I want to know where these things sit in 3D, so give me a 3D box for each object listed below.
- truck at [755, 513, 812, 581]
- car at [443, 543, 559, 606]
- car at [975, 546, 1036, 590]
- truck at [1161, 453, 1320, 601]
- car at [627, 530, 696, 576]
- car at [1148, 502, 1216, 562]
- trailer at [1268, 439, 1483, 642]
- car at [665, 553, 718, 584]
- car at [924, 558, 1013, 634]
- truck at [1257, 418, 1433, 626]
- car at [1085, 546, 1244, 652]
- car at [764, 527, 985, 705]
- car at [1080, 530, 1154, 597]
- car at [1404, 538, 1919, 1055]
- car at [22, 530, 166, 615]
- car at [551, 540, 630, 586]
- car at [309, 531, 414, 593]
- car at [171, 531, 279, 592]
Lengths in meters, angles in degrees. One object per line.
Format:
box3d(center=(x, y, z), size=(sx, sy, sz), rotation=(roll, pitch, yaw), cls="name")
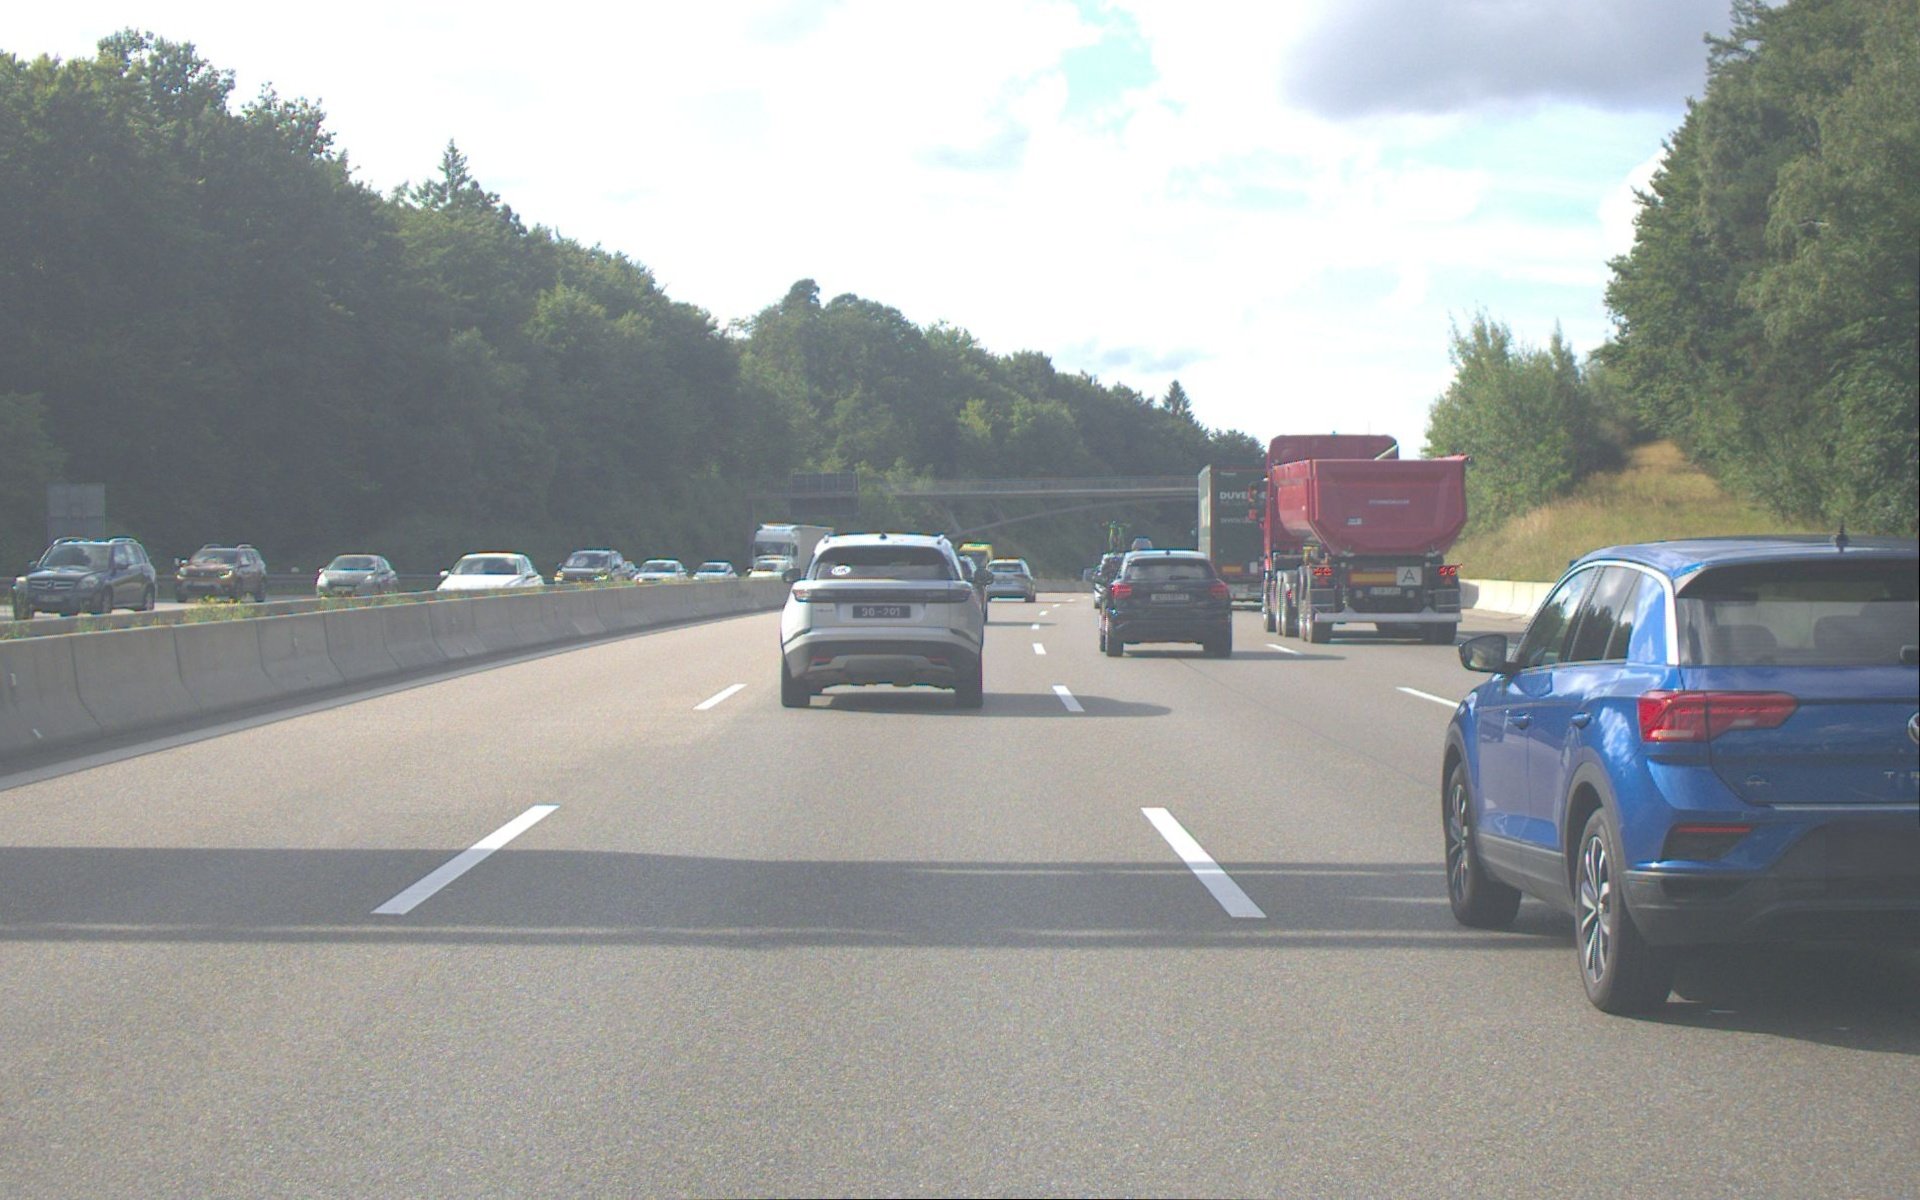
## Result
box3d(center=(-10.774, -3.259, 210.727), size=(2.707, 4.054, 6.597), rotation=(1, 1, 4), cls="truck")
box3d(center=(-9.884, -0.580, 74.318), size=(1.723, 1.305, 4.881), rotation=(0, 1, 2), cls="car")
box3d(center=(1.557, -1.071, 116.692), size=(1.822, 1.452, 3.999), rotation=(0, 0, 4), cls="car")
box3d(center=(7.781, -2.040, 96.916), size=(3.118, 3.921, 10.412), rotation=(1, 1, -3), cls="truck")
box3d(center=(-11.364, -1.810, 131.011), size=(1.928, 1.710, 4.422), rotation=(1, 1, 4), cls="car")
box3d(center=(7.076, -2.172, 110.054), size=(1.893, 1.850, 4.100), rotation=(1, 1, 0), cls="car")
box3d(center=(7.063, -1.036, 59.725), size=(2.710, 3.220, 9.732), rotation=(0, 1, 1), cls="trailer")
box3d(center=(-13.313, -1.558, 170.569), size=(2.071, 1.468, 4.671), rotation=(1, 1, 2), cls="car")
box3d(center=(0.203, -0.106, 73.527), size=(1.822, 1.541, 4.000), rotation=(1, 1, 1), cls="car")
box3d(center=(7.136, -1.445, 64.409), size=(2.710, 3.706, 5.817), rotation=(0, 1, 1), cls="truck")
box3d(center=(2.924, -0.049, 49.877), size=(1.822, 1.452, 4.001), rotation=(1, 1, -3), cls="car")
box3d(center=(-0.770, 0.102, 34.141), size=(2.006, 1.611, 5.301), rotation=(1, 1, 0), cls="car")
box3d(center=(4.445, -1.045, 97.769), size=(1.893, 1.850, 4.101), rotation=(1, 1, 0), cls="car")
box3d(center=(2.840, 0.547, 12.411), size=(1.773, 1.525, 4.458), rotation=(1, 1, -1), cls="car")
box3d(center=(-17.410, -0.573, 69.323), size=(1.666, 1.634, 4.479), rotation=(1, 1, 2), cls="car")
box3d(center=(-12.099, -1.237, 112.848), size=(1.722, 1.474, 4.629), rotation=(1, 1, 5), cls="car")
box3d(center=(-16.962, -1.093, 97.665), size=(1.928, 1.710, 4.422), rotation=(0, 1, 4), cls="car")
box3d(center=(-21.350, -1.127, 100.040), size=(1.928, 1.710, 4.422), rotation=(0, 1, 4), cls="car")
